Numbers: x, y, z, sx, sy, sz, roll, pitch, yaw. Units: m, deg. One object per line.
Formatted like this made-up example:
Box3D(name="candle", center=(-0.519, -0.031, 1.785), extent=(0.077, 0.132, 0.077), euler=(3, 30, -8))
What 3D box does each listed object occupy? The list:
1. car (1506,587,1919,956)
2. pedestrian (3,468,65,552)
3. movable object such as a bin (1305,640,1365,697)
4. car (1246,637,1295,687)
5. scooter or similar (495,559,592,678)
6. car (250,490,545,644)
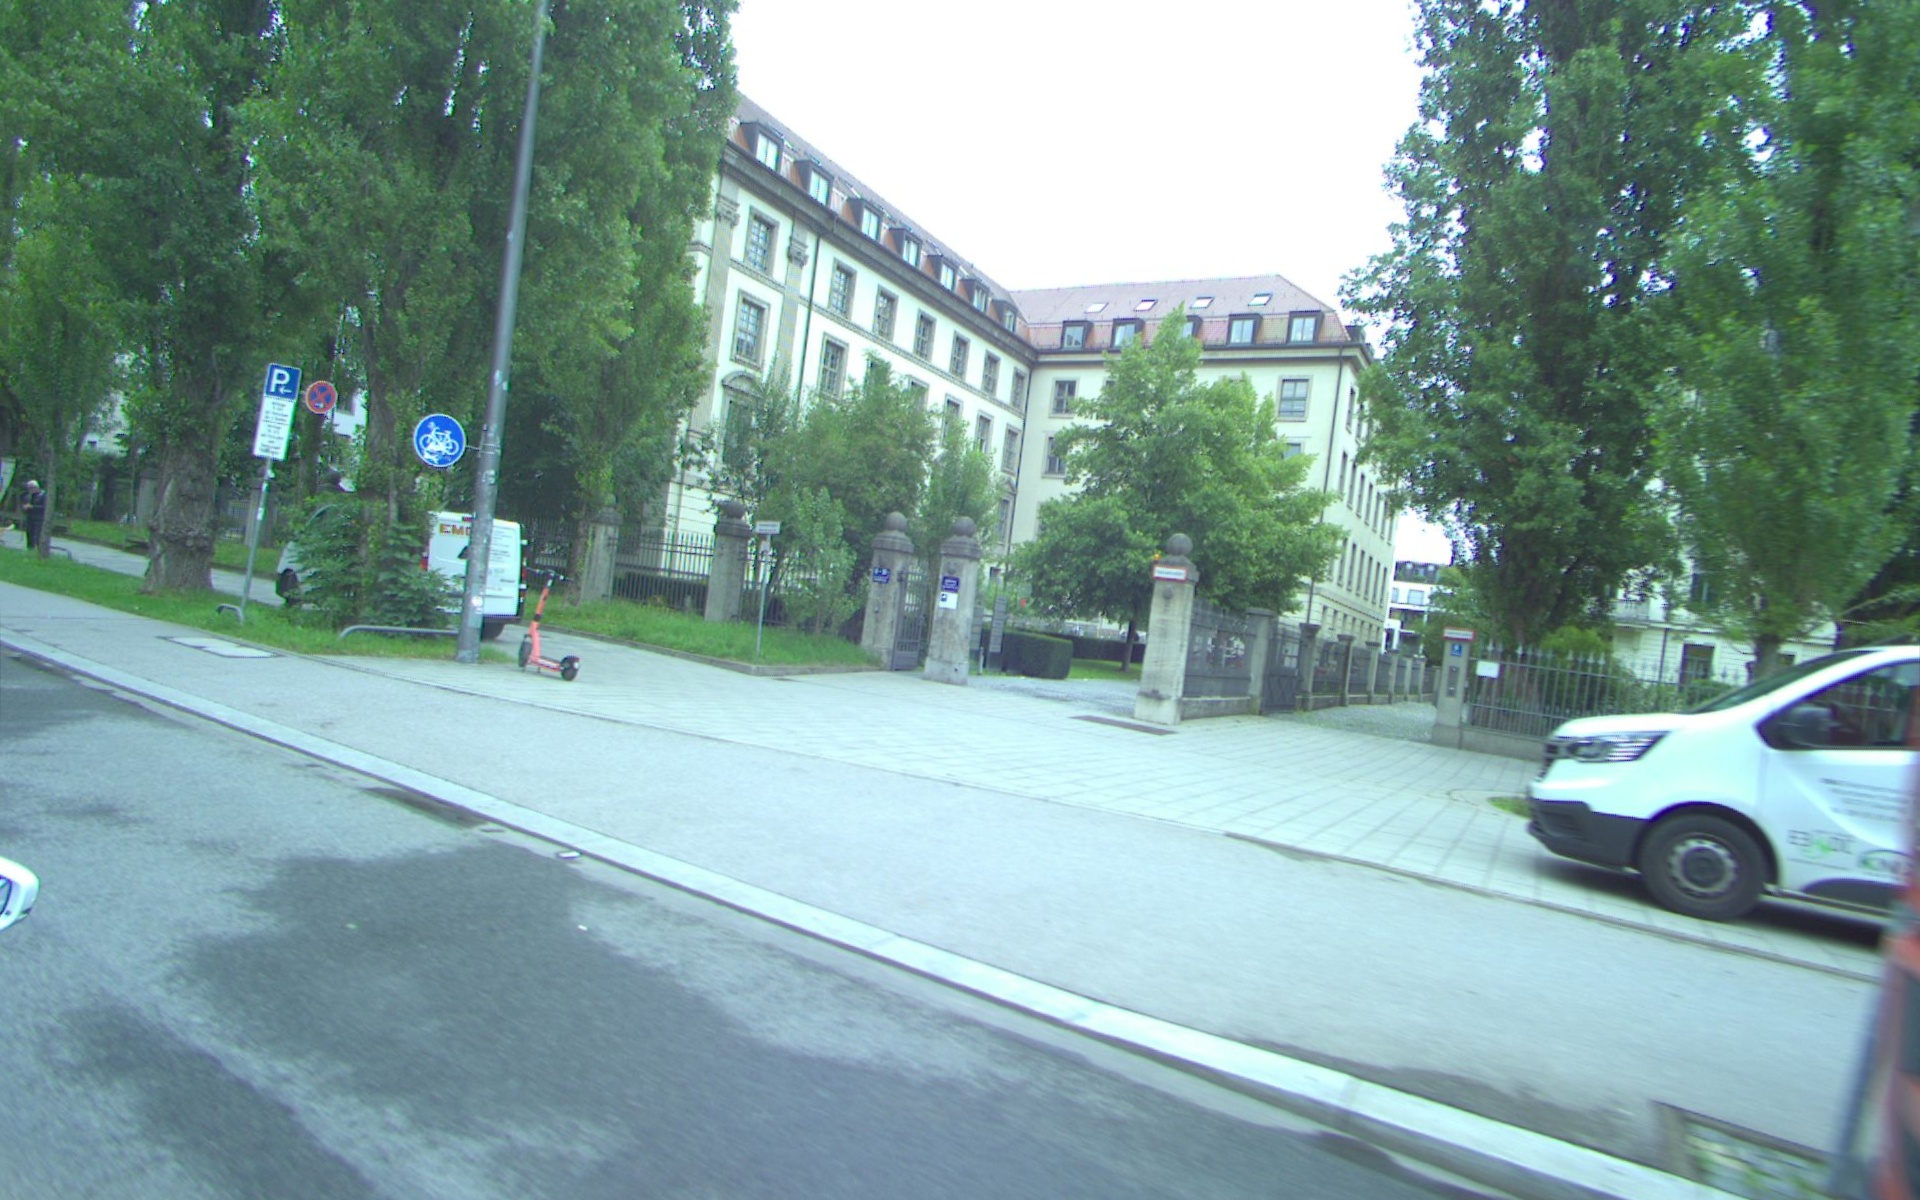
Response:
Box3D(name="car", center=(6.415, 1.234, 6.581), extent=(4.802, 1.967, 1.885), euler=(7, -2, 30))
Box3D(name="pedestrian", center=(-22.300, -2.157, 24.219), extent=(0.771, 1.862, 0.656), euler=(7, 0, 17))
Box3D(name="movable object such as a bin", center=(16.116, 2.991, 43.145), extent=(1.410, 2.166, 3.672), euler=(7, -1, 33))
Box3D(name="car", center=(14.090, 2.848, 45.517), extent=(1.141, 2.036, 3.498), euler=(7, -1, 30))
Box3D(name="scooter or similar", center=(-5.020, 0.214, 12.099), extent=(1.166, 1.281, 0.337), euler=(7, 0, 32))
Box3D(name="car", center=(-9.458, -0.586, 16.787), extent=(4.999, 1.969, 1.996), euler=(7, -1, 32))
